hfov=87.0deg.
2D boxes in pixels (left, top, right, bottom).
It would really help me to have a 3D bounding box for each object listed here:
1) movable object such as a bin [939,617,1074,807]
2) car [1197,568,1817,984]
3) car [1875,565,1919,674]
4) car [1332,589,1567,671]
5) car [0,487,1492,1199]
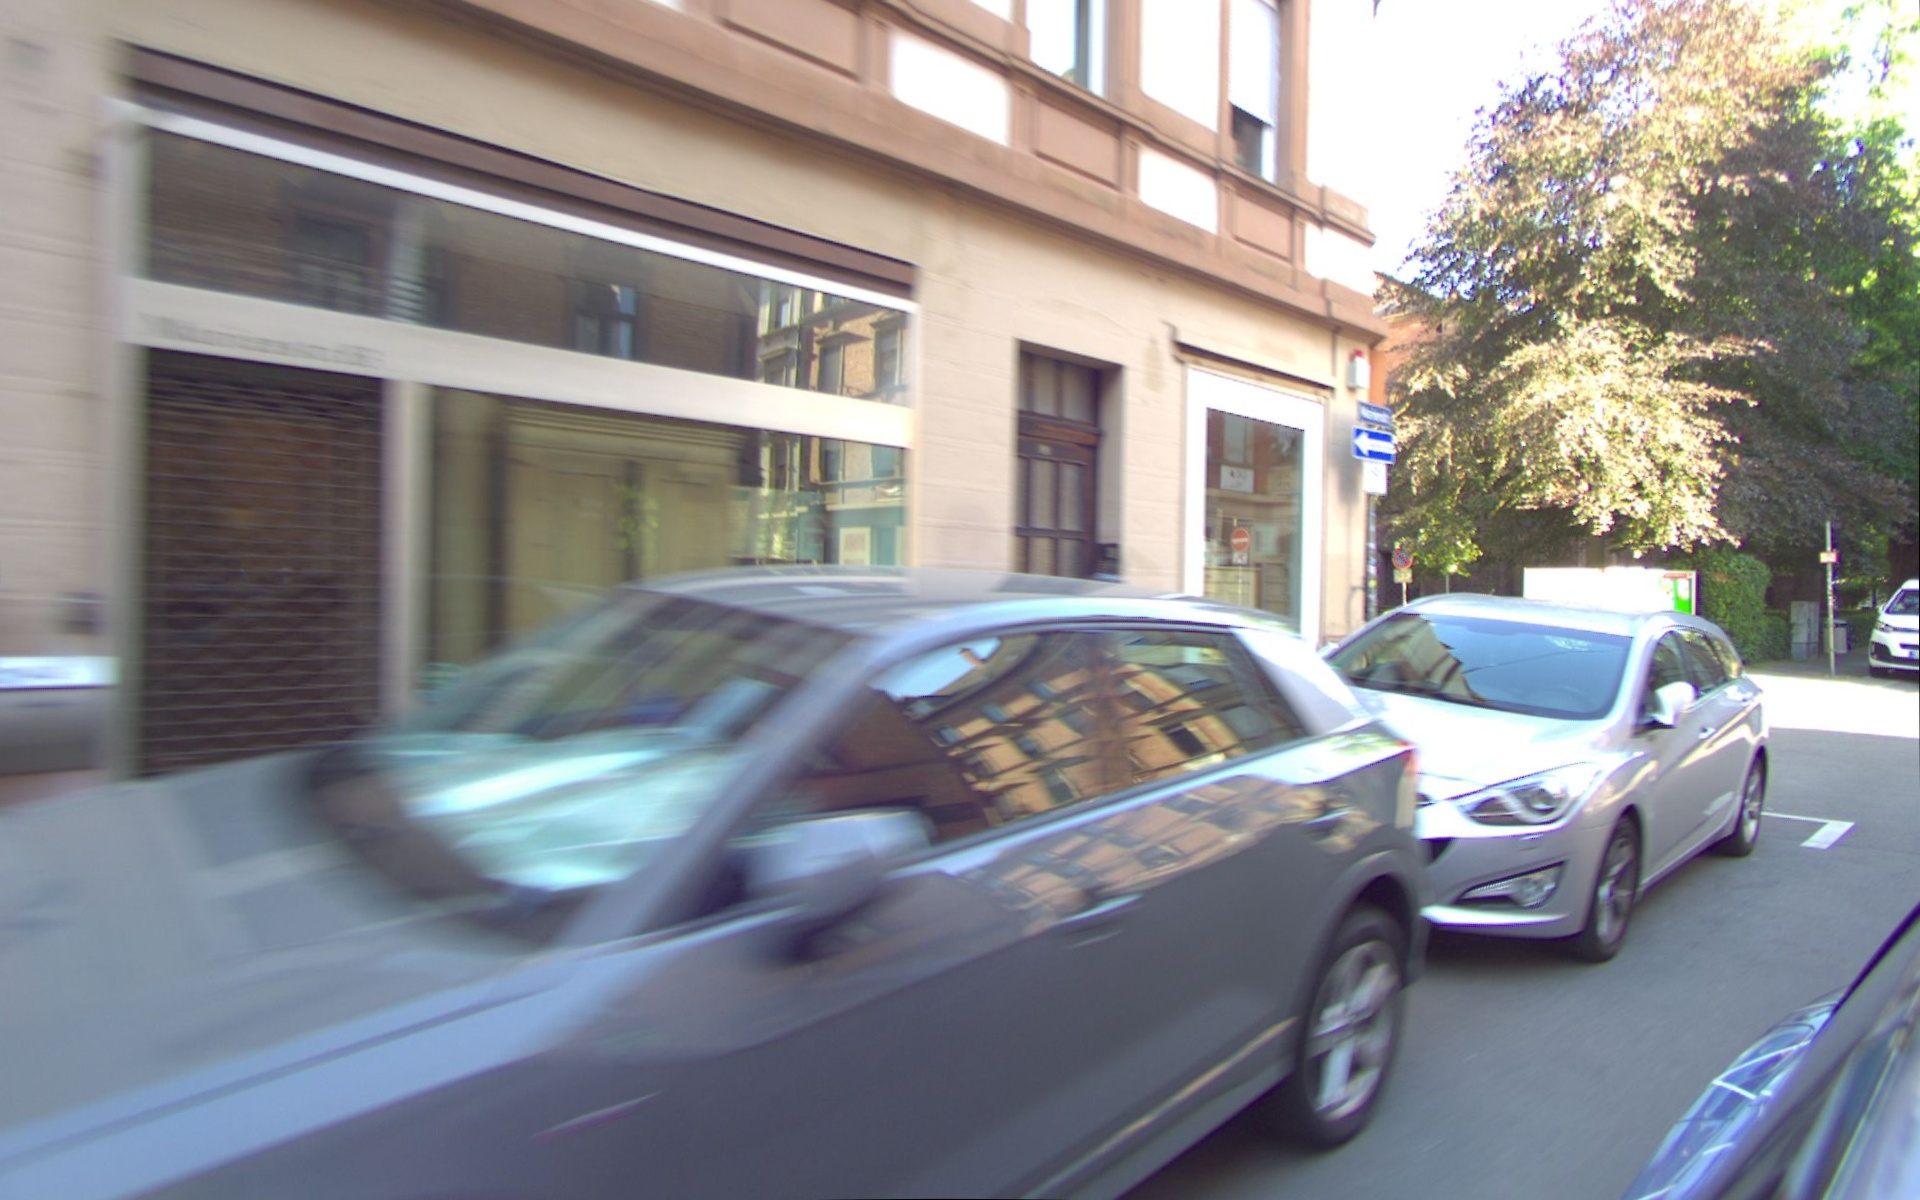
[{"bbox_3d":[0.285,0.649,6.186,0.608,1.052,0.515,1,2,-40],"label":"movable object such as a bin"},{"bbox_3d":[3.407,0.652,5.886,4.281,1.525,1.747,0,2,-41],"label":"car"},{"bbox_3d":[20.054,0.408,20.142,4.704,2.023,1.920,1,2,-38],"label":"car"},{"bbox_3d":[9.829,0.533,20.579,1.765,1.457,3.930,-2,1,-36],"label":"car"},{"bbox_3d":[-0.404,0.622,2.500,3.952,1.525,1.747,0,3,-42],"label":"car"}]
